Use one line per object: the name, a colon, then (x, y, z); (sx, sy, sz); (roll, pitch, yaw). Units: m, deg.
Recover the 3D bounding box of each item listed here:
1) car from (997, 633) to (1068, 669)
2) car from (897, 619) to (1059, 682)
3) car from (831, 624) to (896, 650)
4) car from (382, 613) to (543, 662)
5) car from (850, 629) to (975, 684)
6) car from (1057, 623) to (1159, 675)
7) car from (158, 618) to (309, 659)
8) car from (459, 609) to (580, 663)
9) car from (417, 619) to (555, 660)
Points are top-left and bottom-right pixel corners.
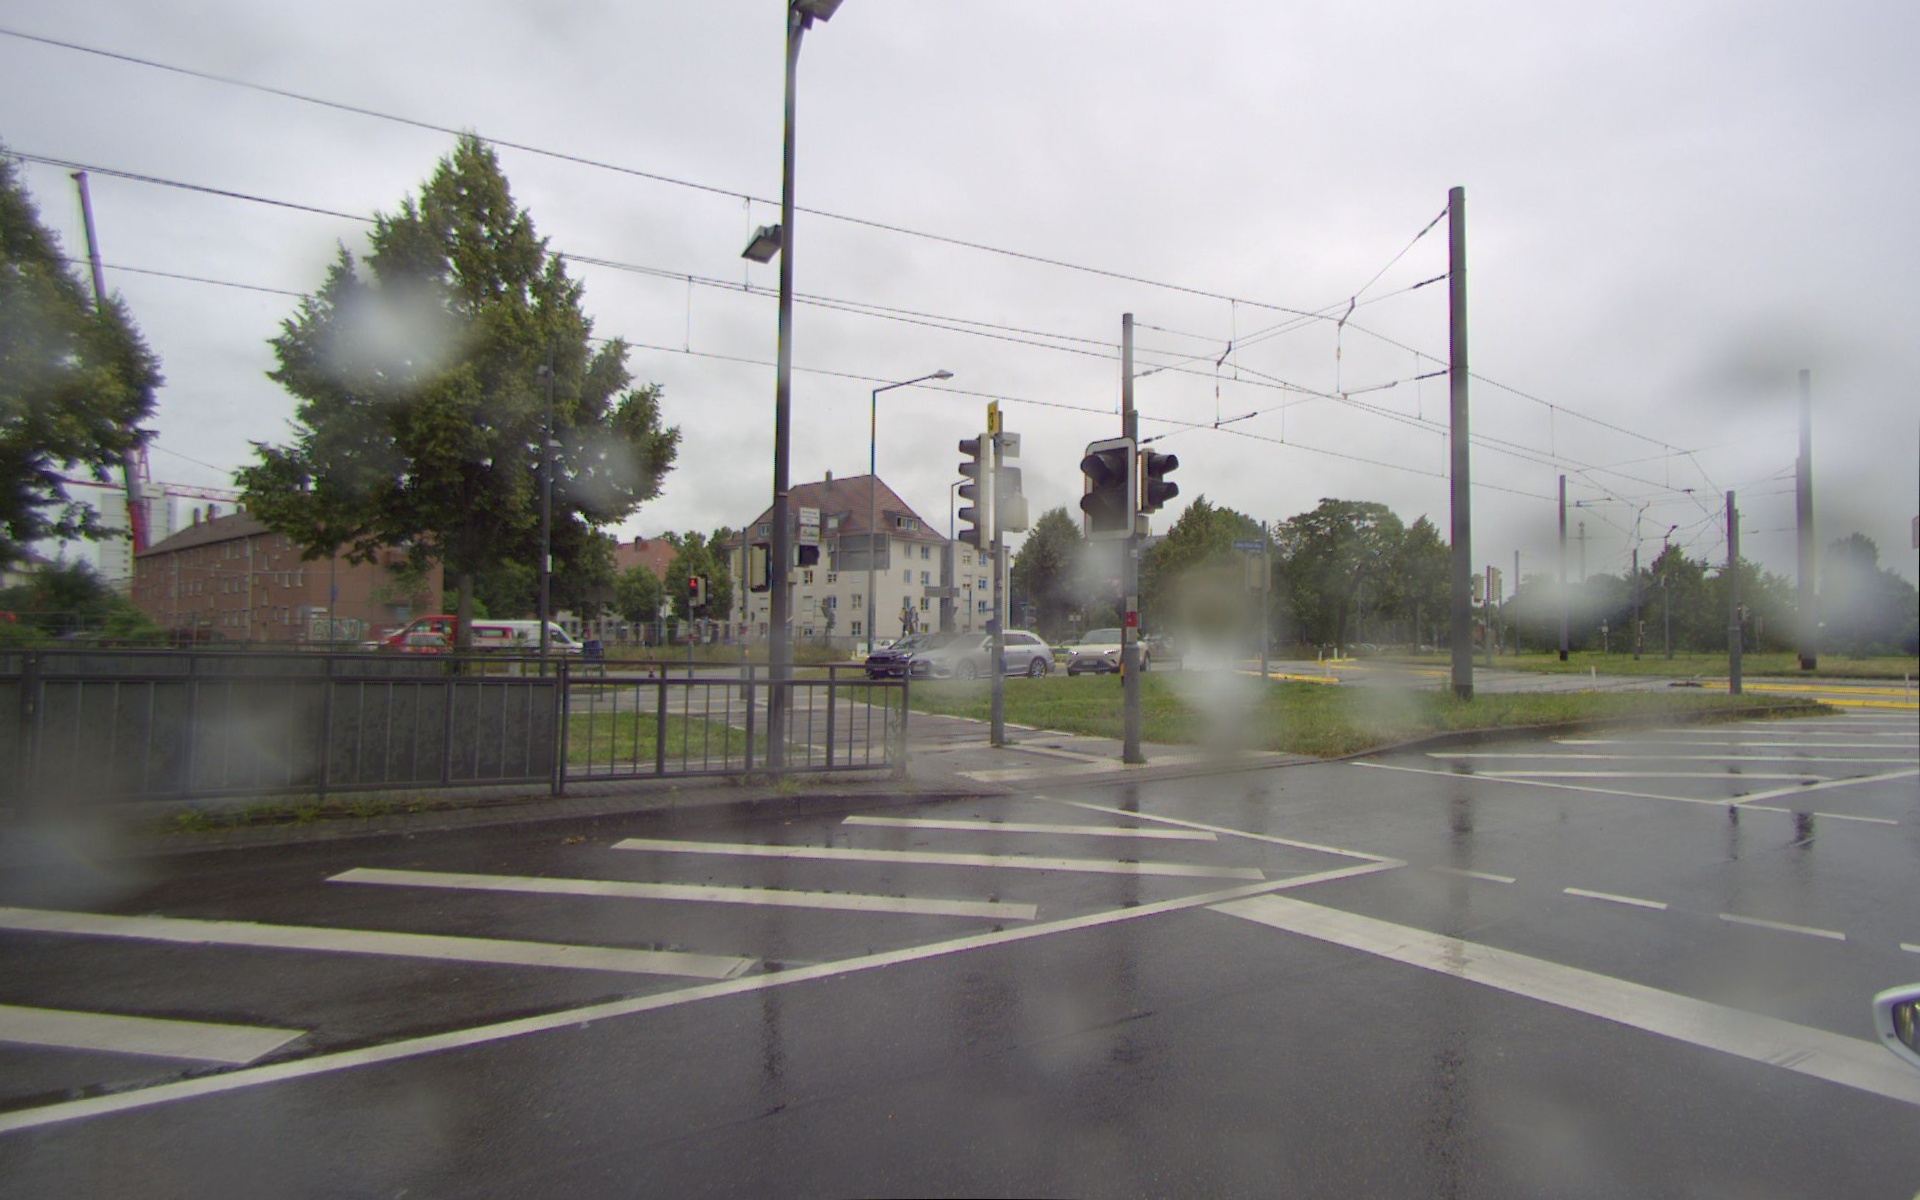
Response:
car: (5.224, 3.651, 72.291); (4.745, 2.358, 2.000); (2, 0, 18)
car: (0.580, 1.333, 27.421); (1.805, 1.506, 4.601); (2, 0, 42)
car: (-7.682, 2.913, 80.063); (4.747, 1.835, 1.999); (2, 0, 22)
car: (-22.784, 1.718, 46.380); (6.329, 2.040, 2.346); (2, 0, -20)
car: (-1.399, 1.694, 31.163); (1.801, 1.506, 3.987); (2, 0, 35)
car: (4.902, 1.537, 32.859); (1.819, 1.506, 4.217); (2, 0, 31)
car: (-39.744, 2.101, 55.083); (2.325, 2.040, 6.388); (2, 0, 44)
car: (-26.034, 2.155, 59.661); (6.329, 2.978, 2.346); (2, 0, -20)
car: (-24.874, 2.075, 52.993); (6.329, 2.040, 2.347); (1, -2, -20)
